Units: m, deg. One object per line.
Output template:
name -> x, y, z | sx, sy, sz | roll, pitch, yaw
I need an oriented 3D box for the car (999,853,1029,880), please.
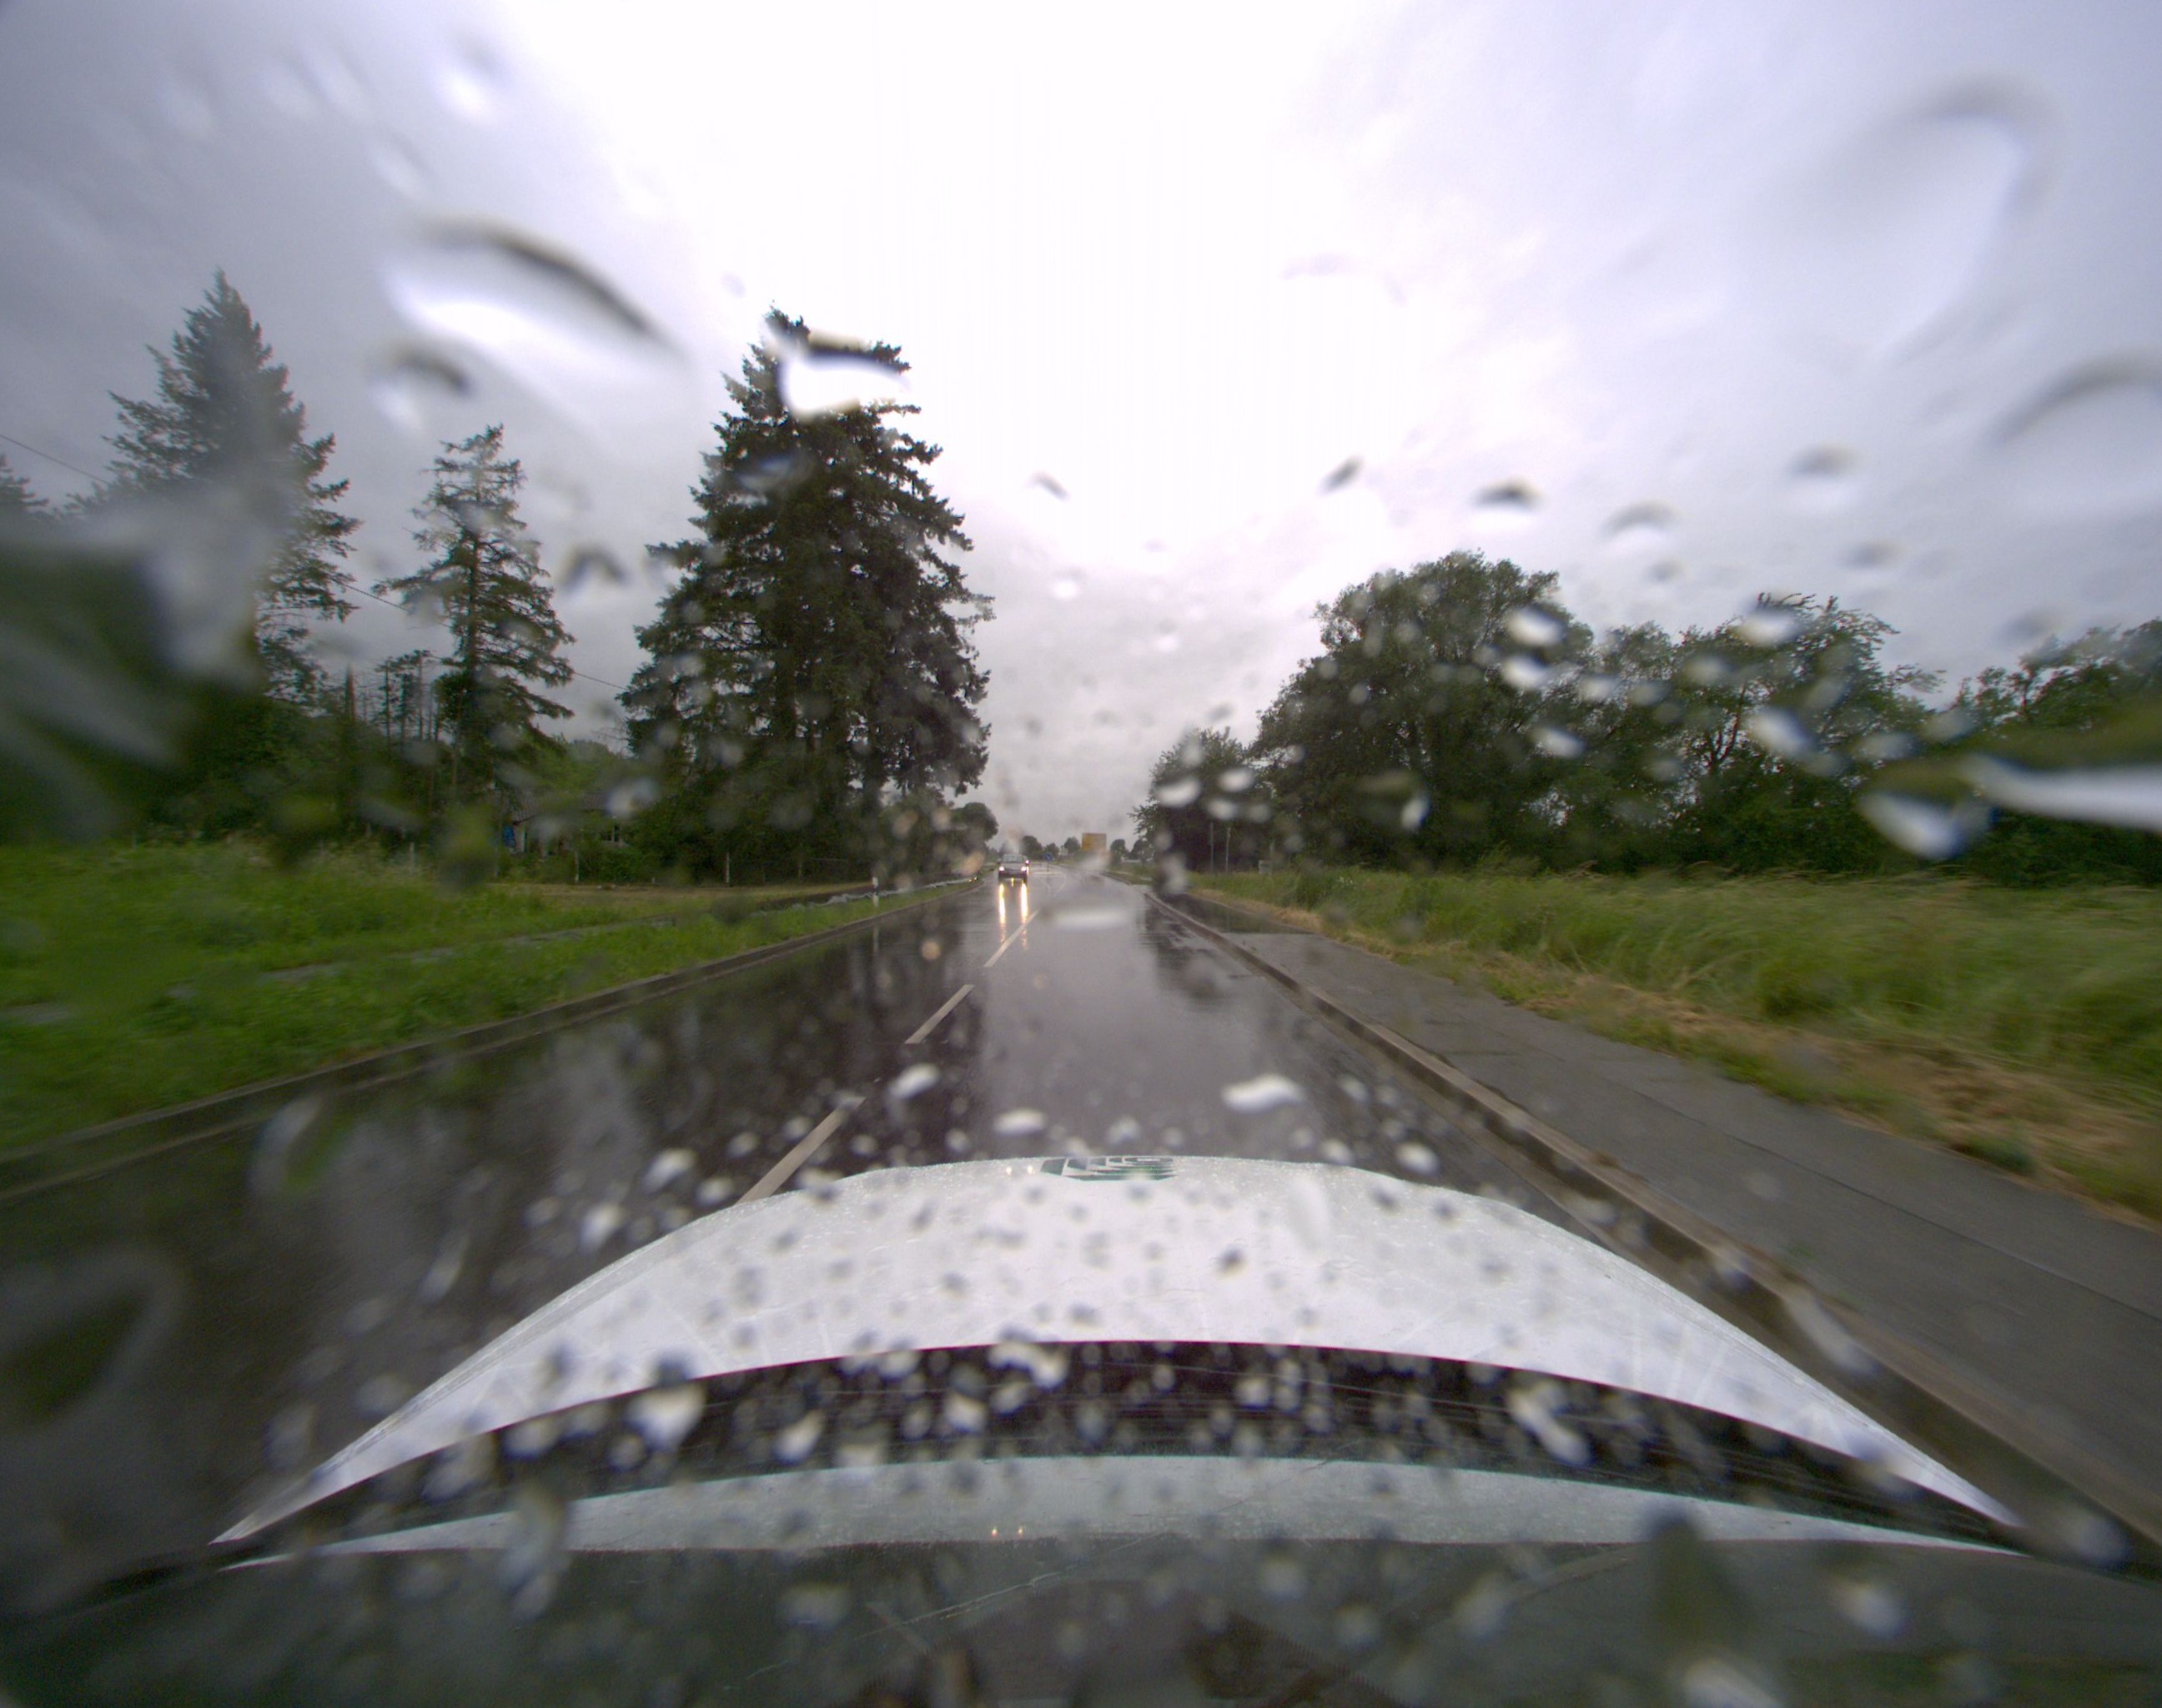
car -> -4.159, 0.771, 50.833 | 1.757, 1.552, 3.994 | 2, -1, -4
